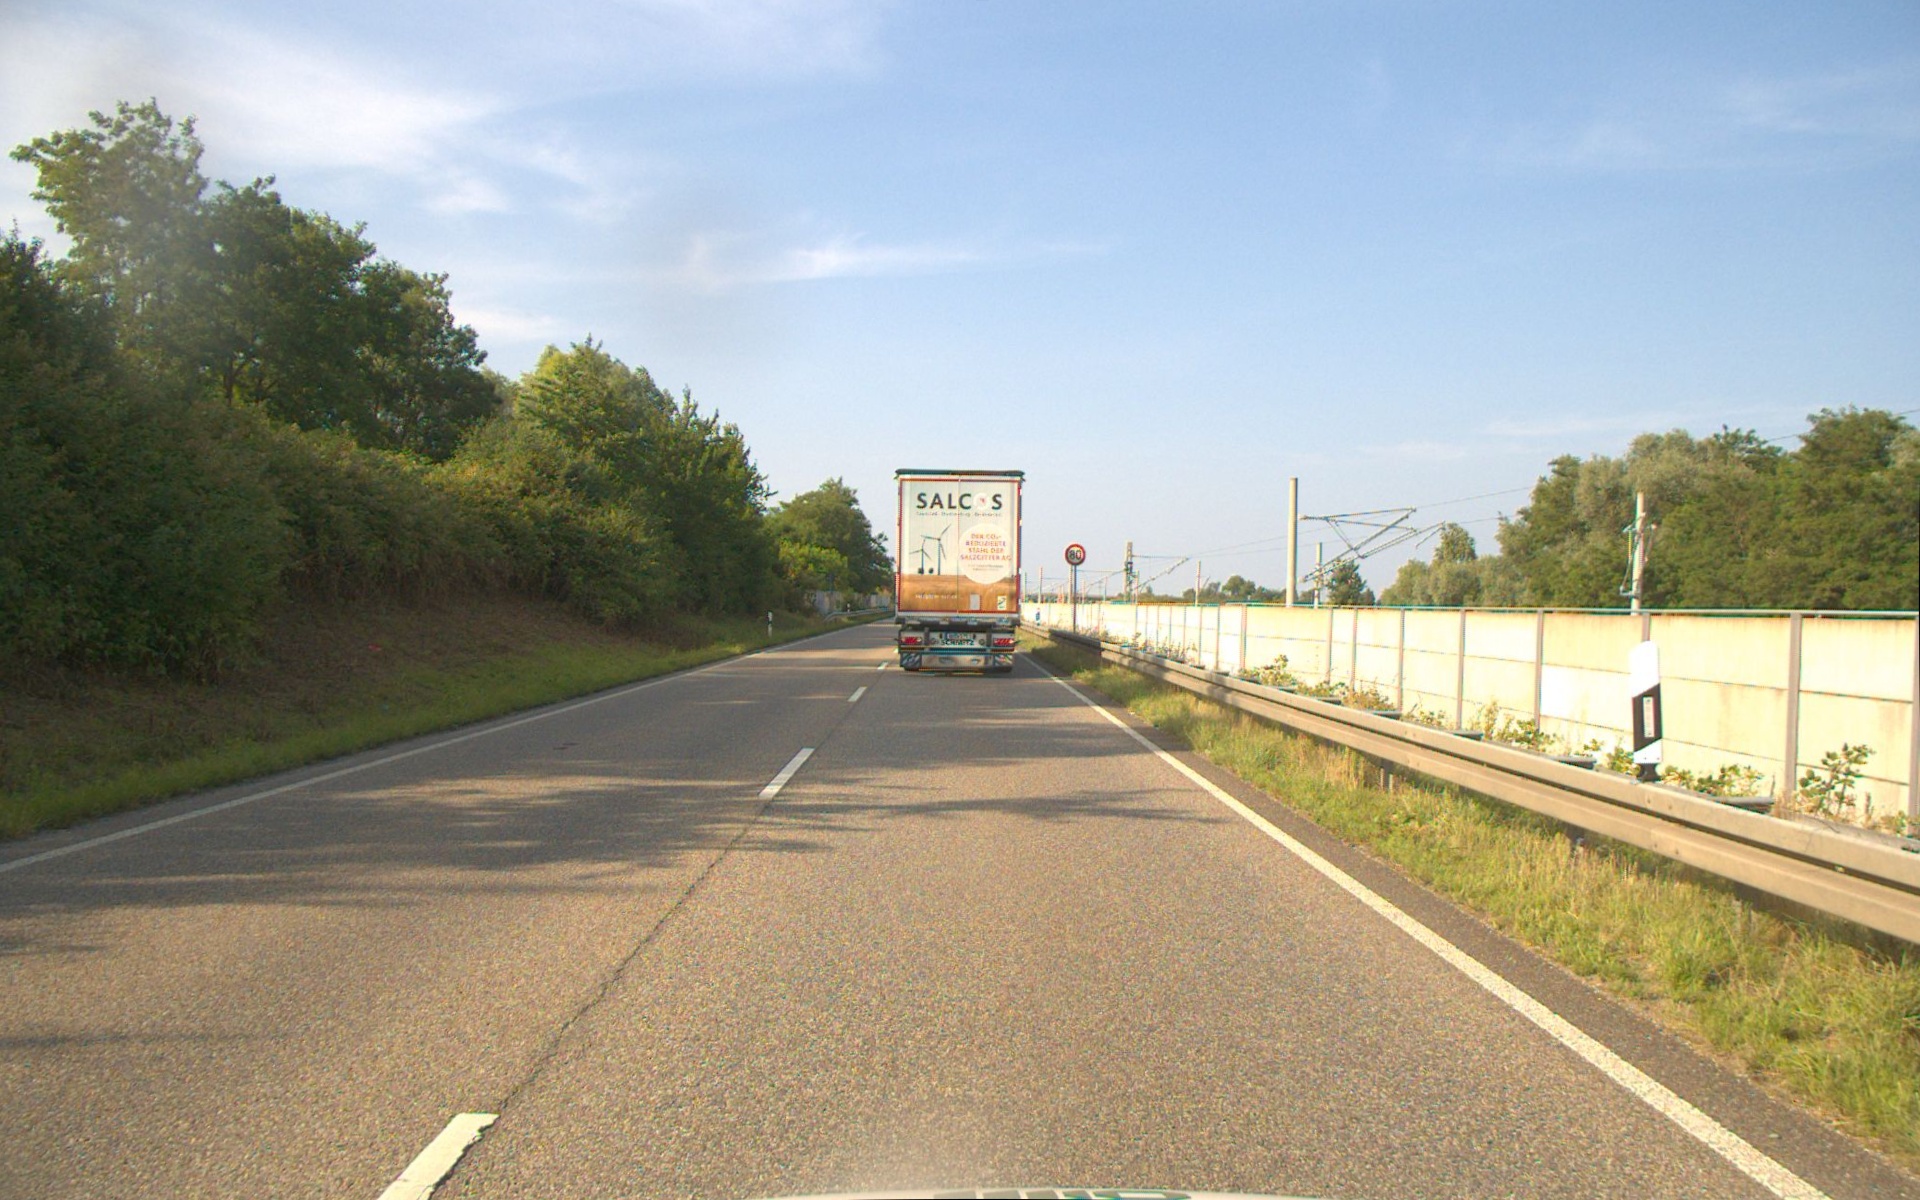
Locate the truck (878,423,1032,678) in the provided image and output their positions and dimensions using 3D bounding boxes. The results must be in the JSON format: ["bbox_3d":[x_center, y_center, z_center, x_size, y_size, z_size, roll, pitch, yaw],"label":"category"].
[{"bbox_3d":[-0.276,-0.947,38.720,2.972,5.006,11.679,1,0,-2],"label":"truck"}]
